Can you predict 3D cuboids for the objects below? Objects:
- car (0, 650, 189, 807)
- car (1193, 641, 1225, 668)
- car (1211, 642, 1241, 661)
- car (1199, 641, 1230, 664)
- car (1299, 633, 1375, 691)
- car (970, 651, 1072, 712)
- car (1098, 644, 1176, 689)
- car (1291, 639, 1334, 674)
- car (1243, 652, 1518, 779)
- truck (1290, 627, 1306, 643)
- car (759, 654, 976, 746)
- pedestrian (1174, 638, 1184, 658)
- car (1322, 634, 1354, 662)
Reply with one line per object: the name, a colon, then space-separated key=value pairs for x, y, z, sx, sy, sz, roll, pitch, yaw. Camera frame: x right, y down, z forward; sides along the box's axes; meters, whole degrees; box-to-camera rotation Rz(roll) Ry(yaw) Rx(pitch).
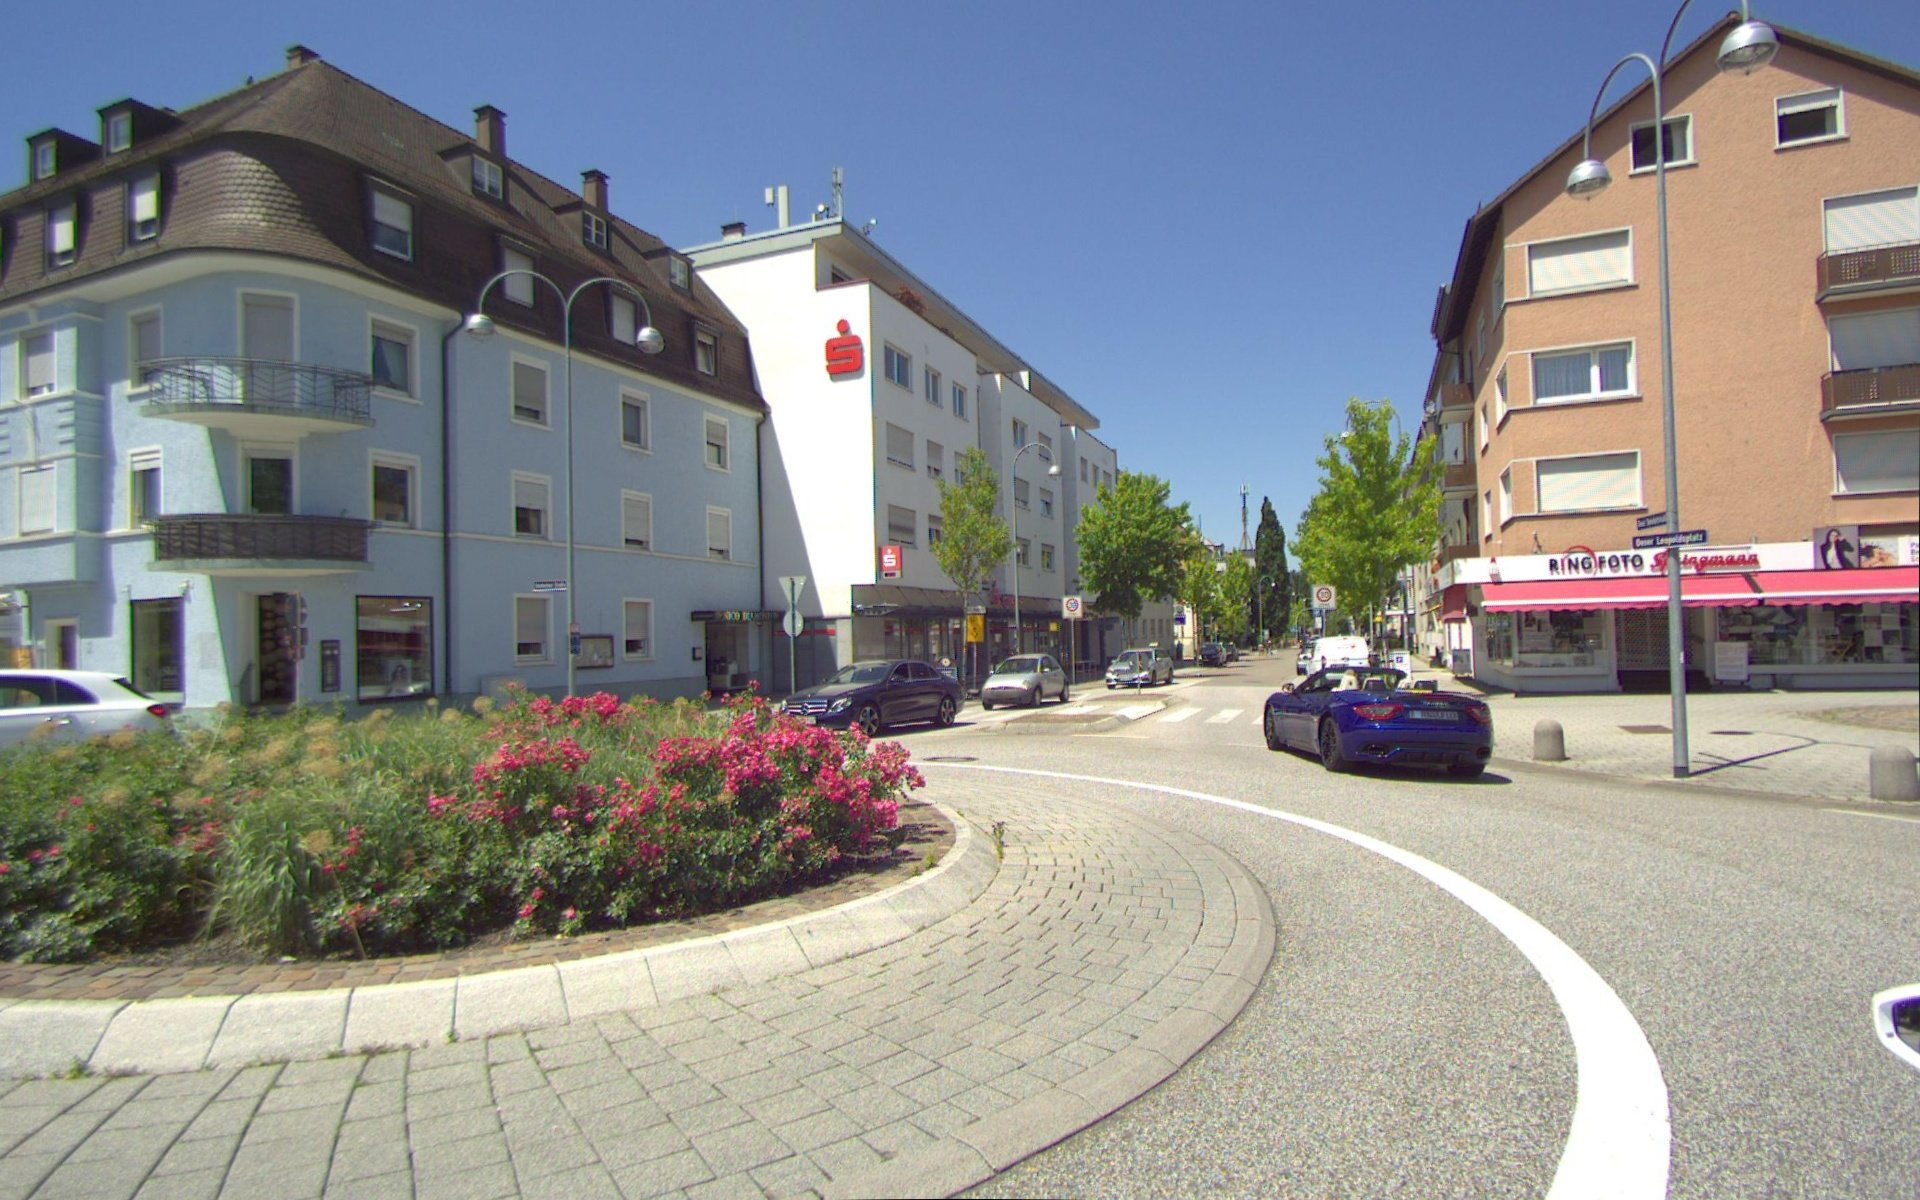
car: x=-10.341 y=1.385 z=9.622 sx=1.902 sy=1.399 sz=4.274 roll=-6 pitch=-2 yaw=34
car: x=18.064 y=3.897 z=72.672 sx=1.700 sy=1.763 sz=4.392 roll=1 pitch=-1 yaw=21
car: x=22.152 y=4.229 z=83.636 sx=1.726 sy=1.493 sz=4.318 roll=-1 pitch=-2 yaw=24
car: x=19.769 y=4.060 z=77.912 sx=1.794 sy=1.641 sz=4.392 roll=-1 pitch=-1 yaw=21
car: x=12.516 y=2.037 z=33.548 sx=1.717 sy=1.746 sz=3.913 roll=-4 pitch=-3 yaw=12
car: x=1.779 y=2.239 z=28.124 sx=1.672 sy=1.477 sz=3.788 roll=-4 pitch=-3 yaw=22
car: x=7.029 y=2.555 z=39.391 sx=1.962 sy=1.613 sz=4.997 roll=-2 pitch=-3 yaw=22
car: x=17.385 y=2.777 z=49.440 sx=1.714 sy=1.570 sz=3.943 roll=-4 pitch=-4 yaw=23
car: x=5.482 y=1.453 z=13.875 sx=1.943 sy=1.416 sz=4.629 roll=-1 pitch=-3 yaw=2
truck: x=49.915 y=5.177 z=148.324 sx=1.776 sy=2.145 sz=4.713 roll=-4 pitch=-2 yaw=23
car: x=-1.700 y=1.932 z=20.171 sx=1.965 sy=1.497 sz=4.700 roll=-4 pitch=-3 yaw=30
pedestrian: x=18.836 y=4.113 z=86.277 sx=0.645 sy=1.703 sz=0.631 roll=-3 pitch=0 yaw=5
car: x=28.660 y=3.634 z=76.086 sx=1.962 sy=1.822 sz=4.565 roll=-4 pitch=-1 yaw=24
